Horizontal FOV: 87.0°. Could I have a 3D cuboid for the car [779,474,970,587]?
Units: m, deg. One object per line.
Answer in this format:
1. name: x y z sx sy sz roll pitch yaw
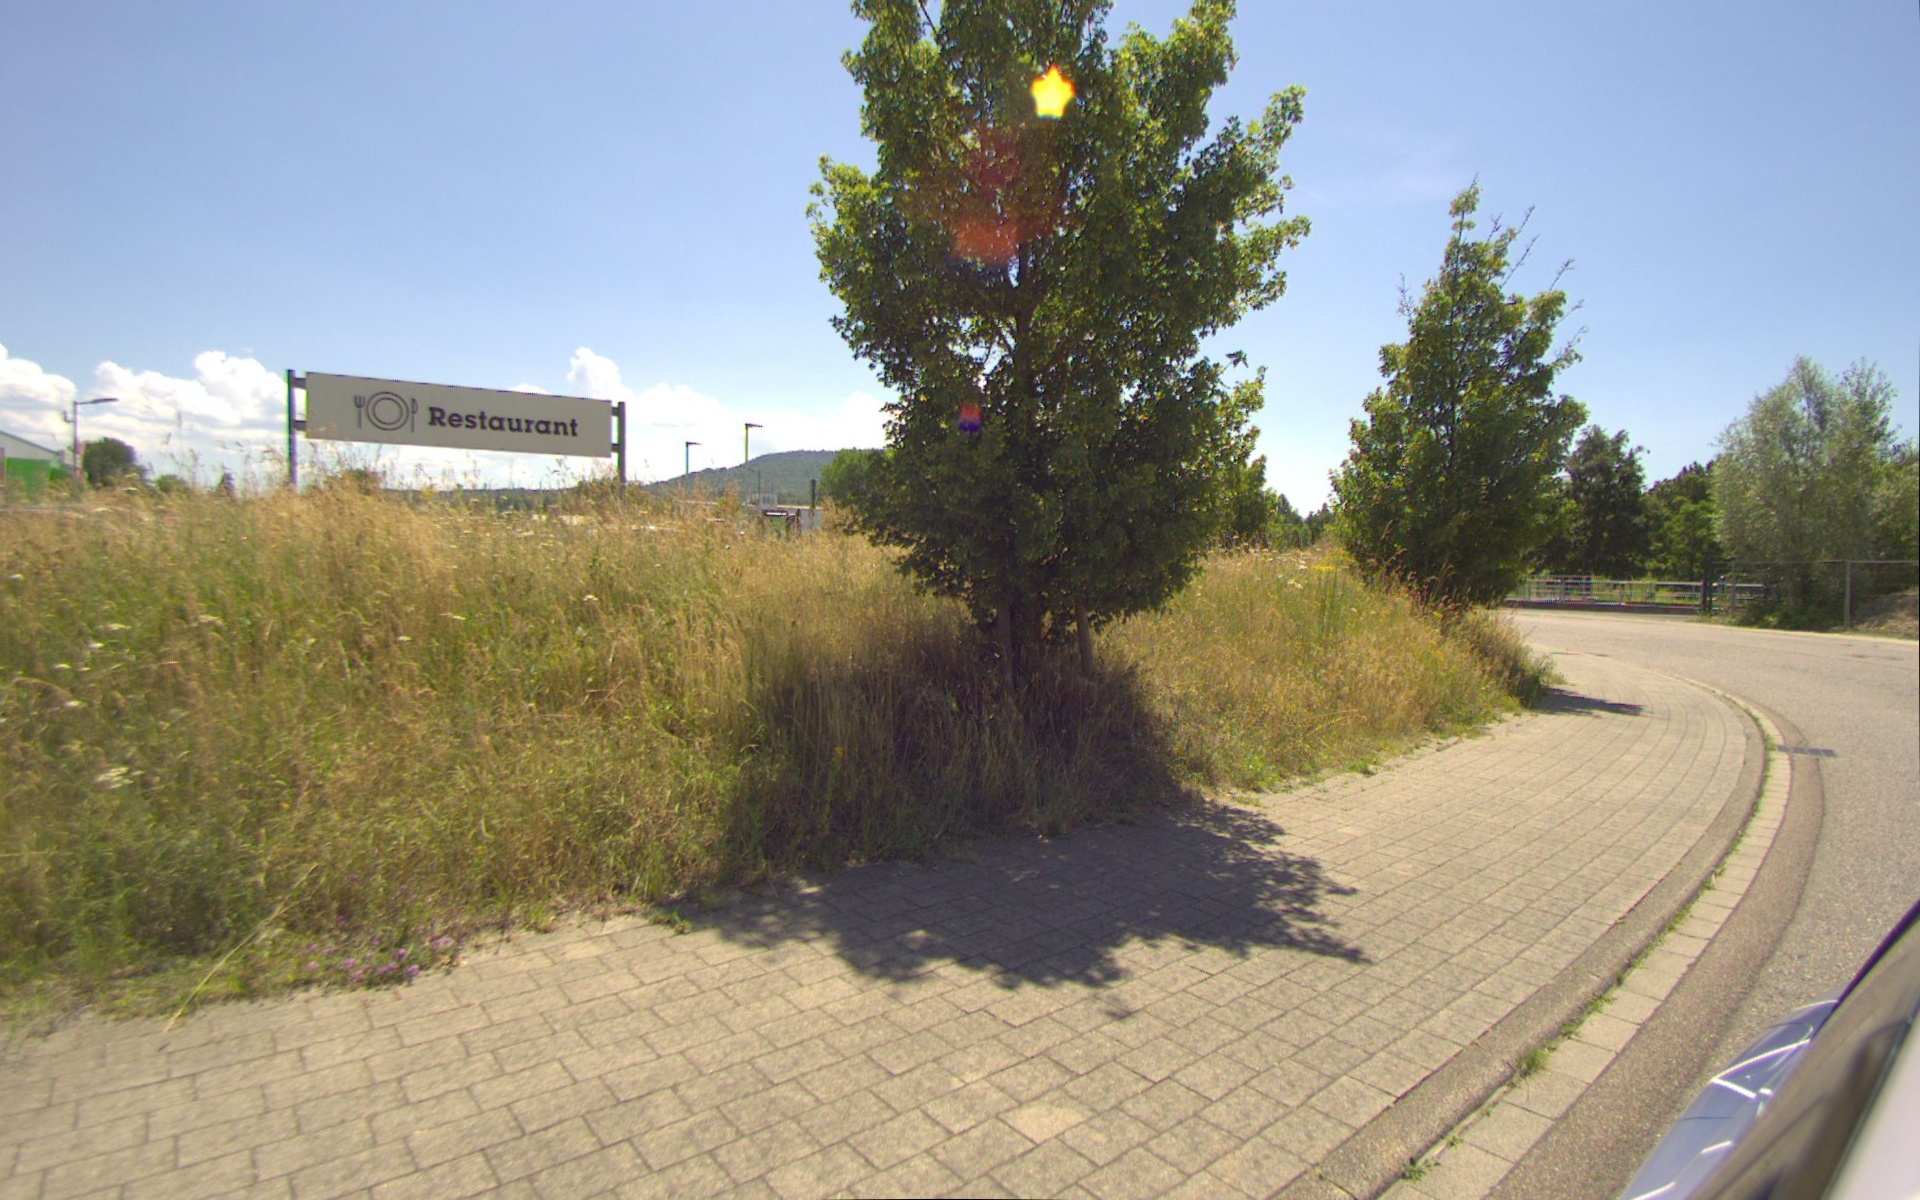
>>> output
1. car: -2.262 -1.799 26.979 4.656 2.776 2.003 -1 3 -29
